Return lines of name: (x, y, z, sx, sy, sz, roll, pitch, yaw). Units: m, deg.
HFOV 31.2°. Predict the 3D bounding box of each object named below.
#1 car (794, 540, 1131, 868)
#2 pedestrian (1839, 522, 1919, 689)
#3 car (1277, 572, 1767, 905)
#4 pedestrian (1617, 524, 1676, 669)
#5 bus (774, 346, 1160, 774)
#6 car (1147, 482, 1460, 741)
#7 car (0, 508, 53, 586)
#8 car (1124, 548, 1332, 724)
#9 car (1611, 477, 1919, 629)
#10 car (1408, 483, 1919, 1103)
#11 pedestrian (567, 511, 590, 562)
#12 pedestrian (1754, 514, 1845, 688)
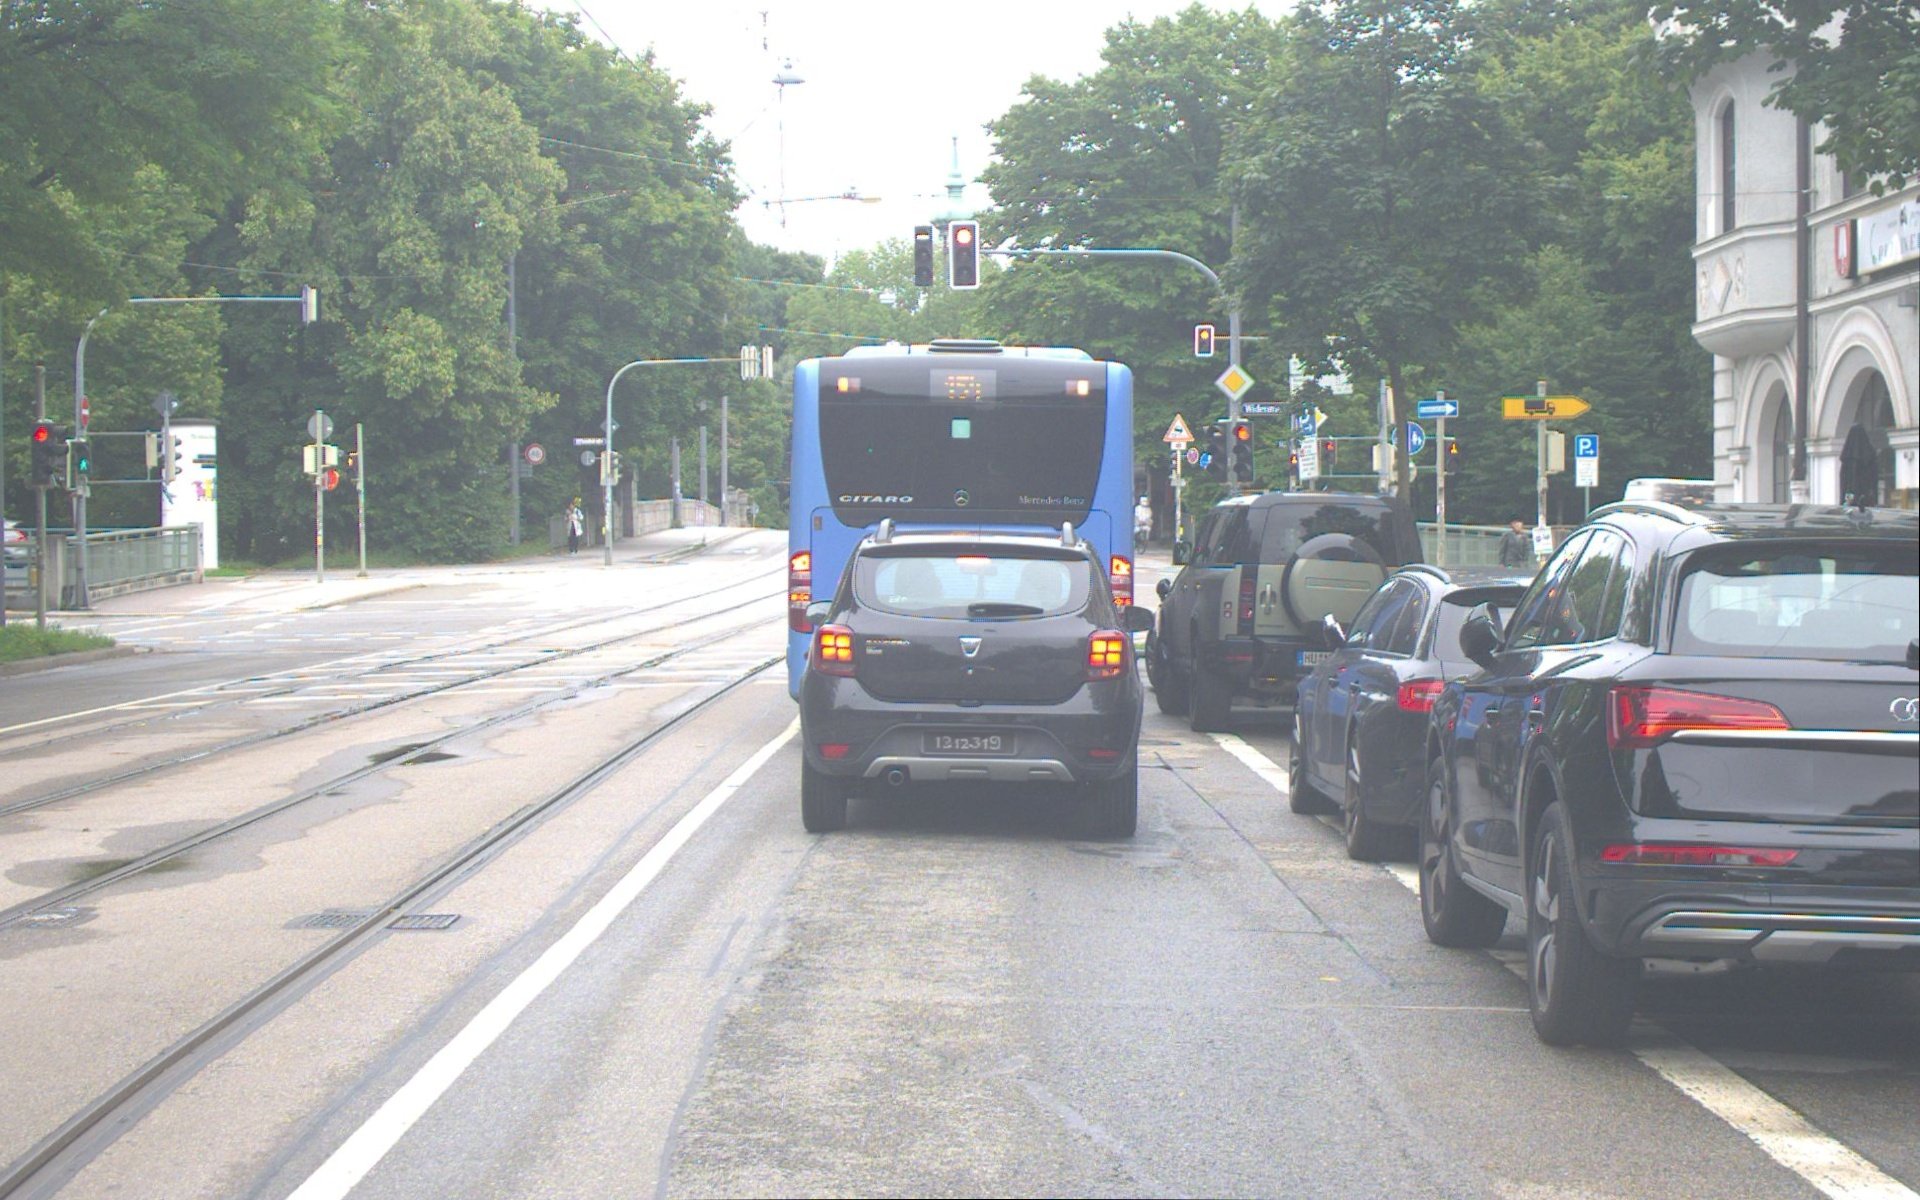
car: (0.008, 0.487, 18.527, 1.601, 1.551, 3.525, 2, 1, 0)
pedestrian: (9.807, 0.054, 36.467, 0.705, 1.726, 0.843, 2, 0, 1)
car: (2.722, 0.601, 17.657, 1.716, 1.421, 4.602, 2, 1, 0)
pedestrian: (9.644, -0.058, 48.324, 0.673, 2.007, 0.716, 2, 0, 5)
bus: (-0.030, -0.326, 28.071, 2.678, 2.987, 6.961, 2, 1, -1)
car: (2.721, 0.057, 28.321, 1.914, 1.899, 4.808, 2, 1, -2)
car: (-24.712, -1.362, 85.351, 4.021, 1.880, 1.491, 2, 1, -6)
car: (2.581, 0.308, 33.973, 1.714, 1.586, 4.327, 2, 1, 1)
car: (14.867, -0.856, 63.110, 5.295, 2.603, 2.231, 2, 1, -2)
car: (2.663, 0.505, 11.511, 1.774, 1.652, 4.487, 1, 1, 1)
pedestrian: (-11.457, -1.909, 103.266, 0.532, 1.496, 0.588, 2, 0, 5)
pedestrian: (8.895, 0.005, 36.457, 0.705, 1.810, 0.870, 2, 0, 1)
